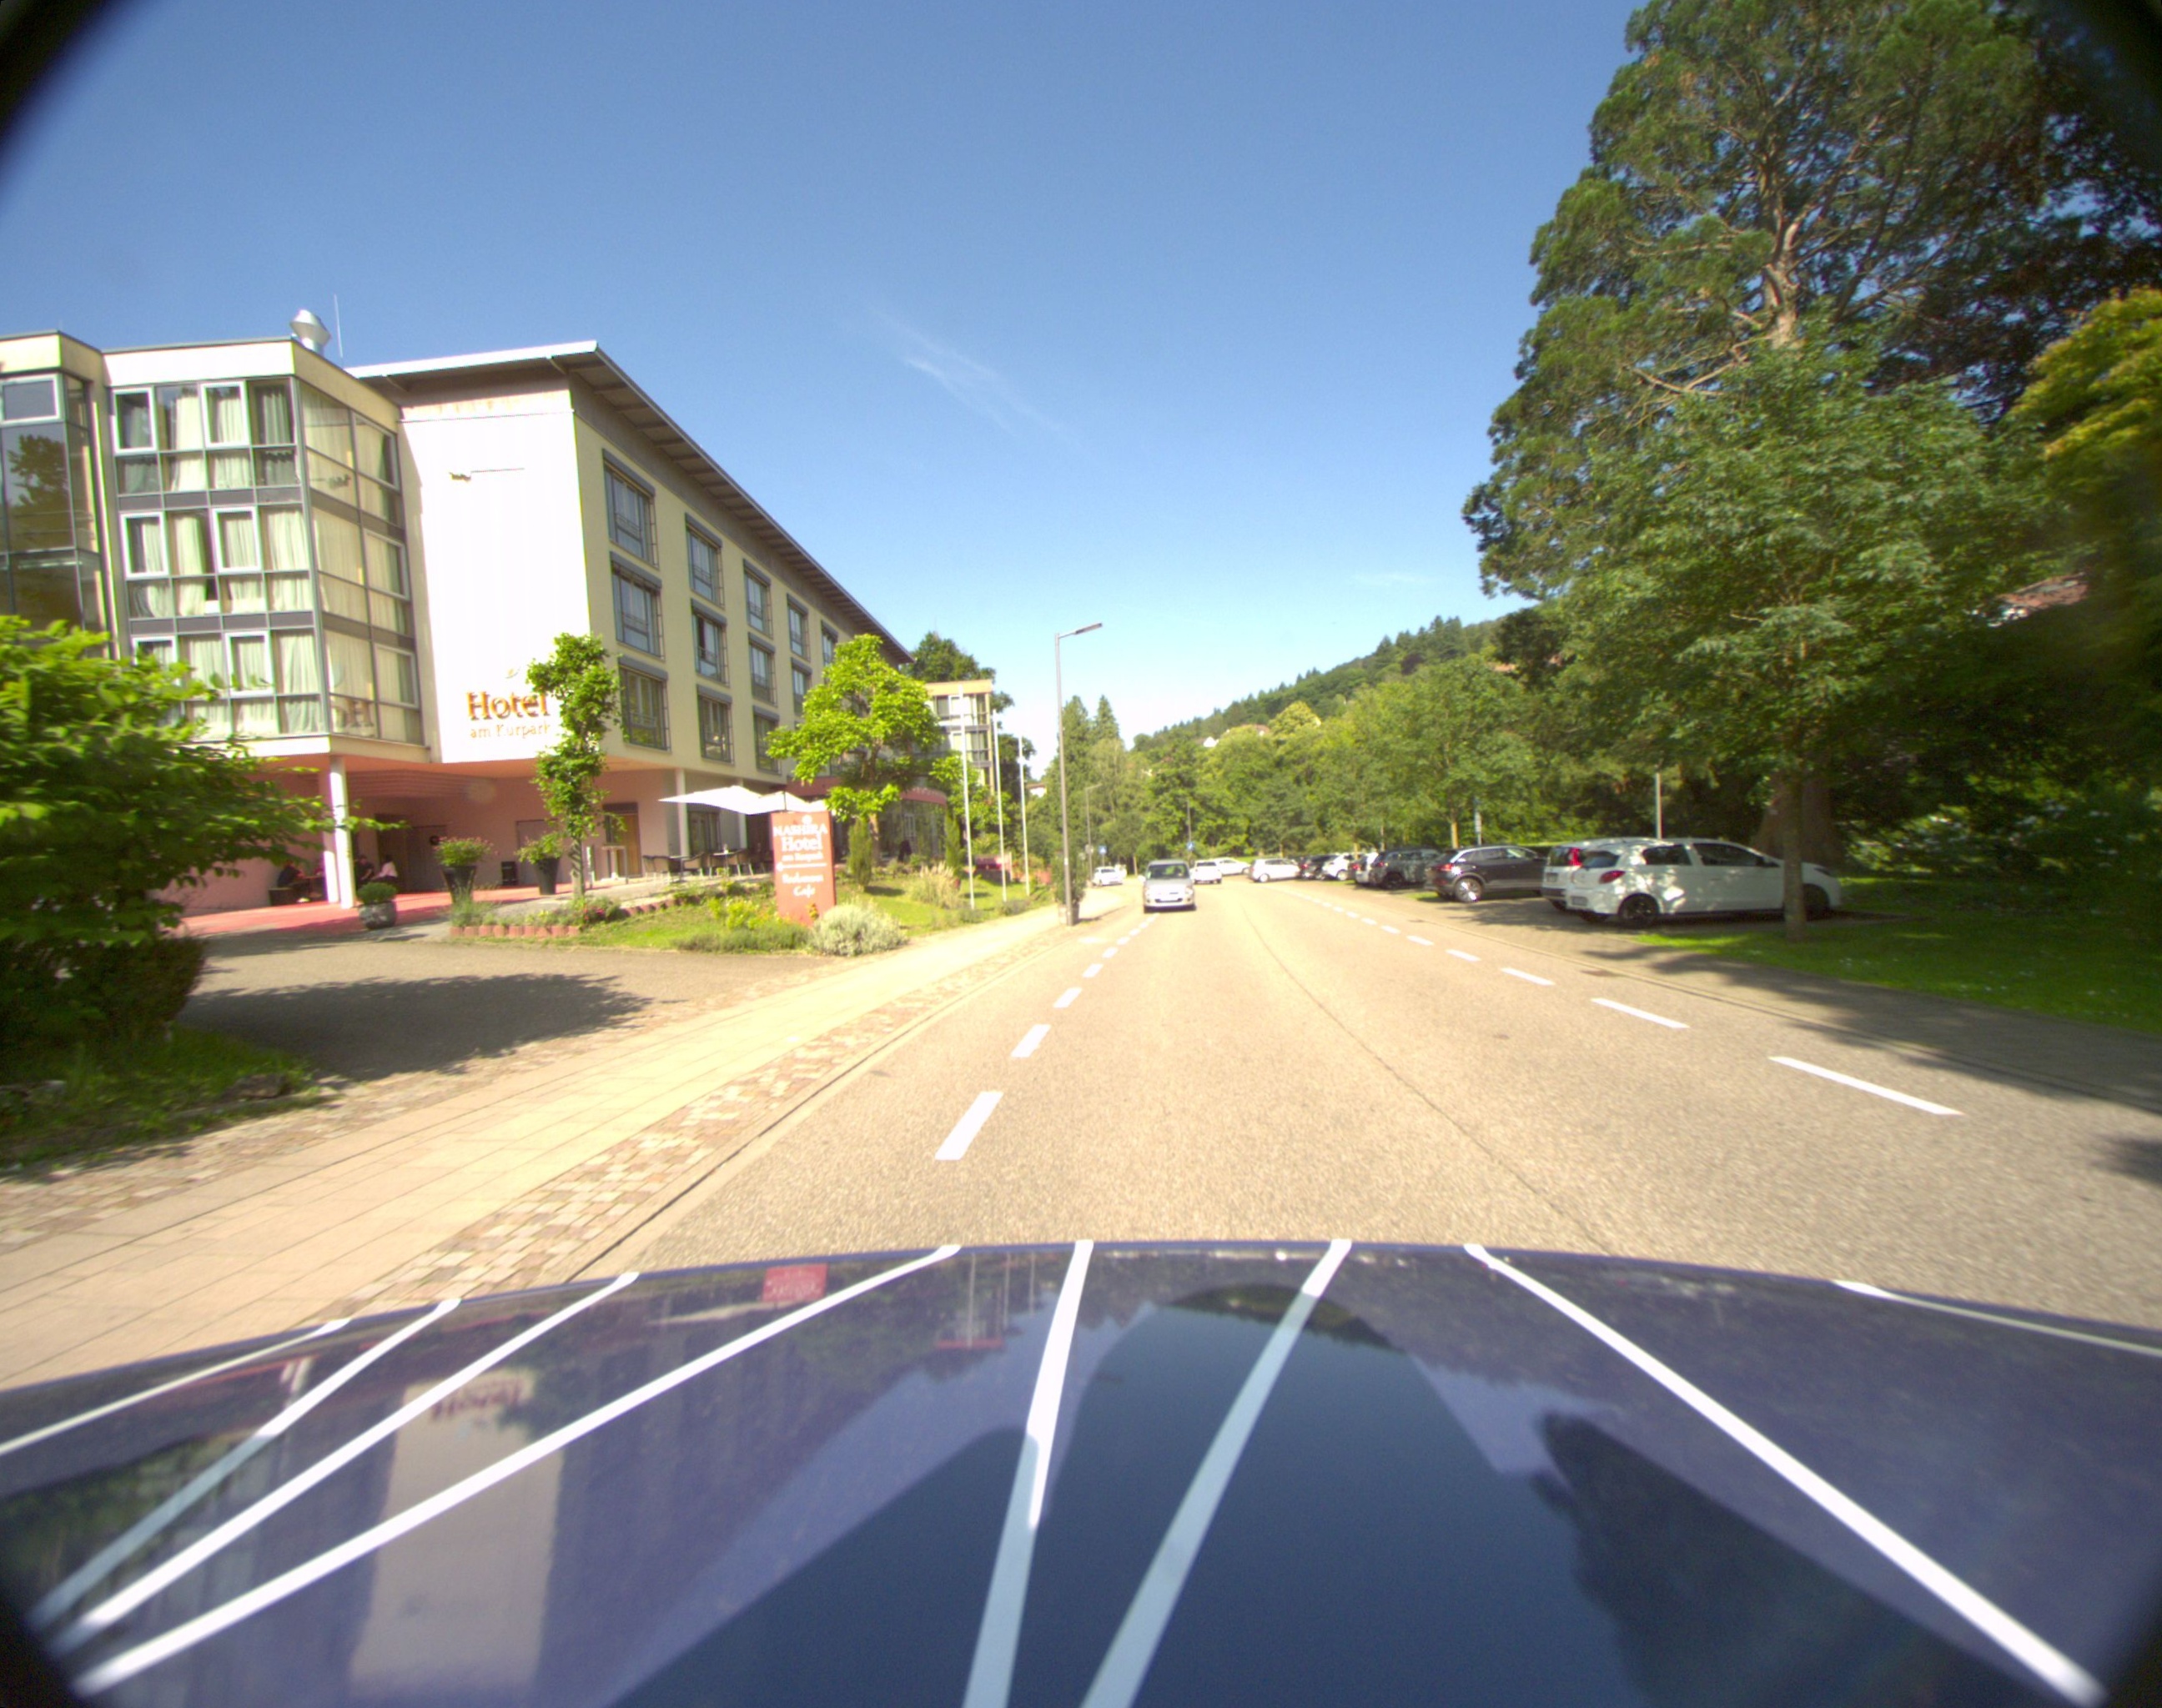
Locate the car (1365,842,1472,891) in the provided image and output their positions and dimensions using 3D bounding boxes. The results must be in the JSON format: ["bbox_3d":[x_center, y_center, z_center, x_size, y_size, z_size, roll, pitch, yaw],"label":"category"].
[{"bbox_3d":[13.088,0.477,29.631,3.488,1.610,1.381,-4,0,9],"label":"car"}]

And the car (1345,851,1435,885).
[{"bbox_3d":[14.149,0.639,34.938,3.488,1.293,1.554,-4,0,9],"label":"car"}]

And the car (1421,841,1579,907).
[{"bbox_3d":[11.479,0.539,21.004,3.488,1.536,1.445,-4,0,9],"label":"car"}]

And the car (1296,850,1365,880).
[{"bbox_3d":[14.333,0.626,43.818,3.488,1.417,1.554,-4,0,9],"label":"car"}]

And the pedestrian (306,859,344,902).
[{"bbox_3d":[-21.686,0.745,21.805,0.523,1.208,0.528,-2,1,-13],"label":"pedestrian"}]

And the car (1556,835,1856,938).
[{"bbox_3d":[10.652,0.544,13.205,3.684,1.478,1.567,-4,0,9],"label":"car"}]

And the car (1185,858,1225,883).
[{"bbox_3d":[7.967,1.024,49.182,1.775,1.495,3.999,-2,0,-3],"label":"car"}]

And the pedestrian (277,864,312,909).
[{"bbox_3d":[-21.630,0.880,20.899,0.609,1.208,0.622,-1,1,43],"label":"pedestrian"}]

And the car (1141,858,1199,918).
[{"bbox_3d":[2.876,1.027,24.648,1.604,1.628,4.002,-4,0,6],"label":"car"}]

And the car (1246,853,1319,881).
[{"bbox_3d":[12.485,0.820,47.220,3.997,1.389,1.516,-5,-1,-1],"label":"car"}]

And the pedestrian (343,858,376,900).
[{"bbox_3d":[-21.401,0.725,22.554,0.611,1.208,0.619,-2,1,-37],"label":"pedestrian"}]

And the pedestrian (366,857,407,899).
[{"bbox_3d":[-20.422,0.693,22.362,0.621,1.208,0.610,-2,1,-11],"label":"pedestrian"}]

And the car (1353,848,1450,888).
[{"bbox_3d":[13.629,0.573,32.469,3.488,1.417,1.554,-4,0,9],"label":"car"}]

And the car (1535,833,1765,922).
[{"bbox_3d":[11.607,0.479,15.697,3.488,1.543,1.381,-4,0,9],"label":"car"}]

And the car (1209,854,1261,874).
[{"bbox_3d":[13.084,0.832,64.726,4.002,1.468,1.514,-3,-1,-15],"label":"car"}]

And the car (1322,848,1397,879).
[{"bbox_3d":[14.959,0.517,40.966,3.488,1.417,1.554,-4,0,9],"label":"car"}]
